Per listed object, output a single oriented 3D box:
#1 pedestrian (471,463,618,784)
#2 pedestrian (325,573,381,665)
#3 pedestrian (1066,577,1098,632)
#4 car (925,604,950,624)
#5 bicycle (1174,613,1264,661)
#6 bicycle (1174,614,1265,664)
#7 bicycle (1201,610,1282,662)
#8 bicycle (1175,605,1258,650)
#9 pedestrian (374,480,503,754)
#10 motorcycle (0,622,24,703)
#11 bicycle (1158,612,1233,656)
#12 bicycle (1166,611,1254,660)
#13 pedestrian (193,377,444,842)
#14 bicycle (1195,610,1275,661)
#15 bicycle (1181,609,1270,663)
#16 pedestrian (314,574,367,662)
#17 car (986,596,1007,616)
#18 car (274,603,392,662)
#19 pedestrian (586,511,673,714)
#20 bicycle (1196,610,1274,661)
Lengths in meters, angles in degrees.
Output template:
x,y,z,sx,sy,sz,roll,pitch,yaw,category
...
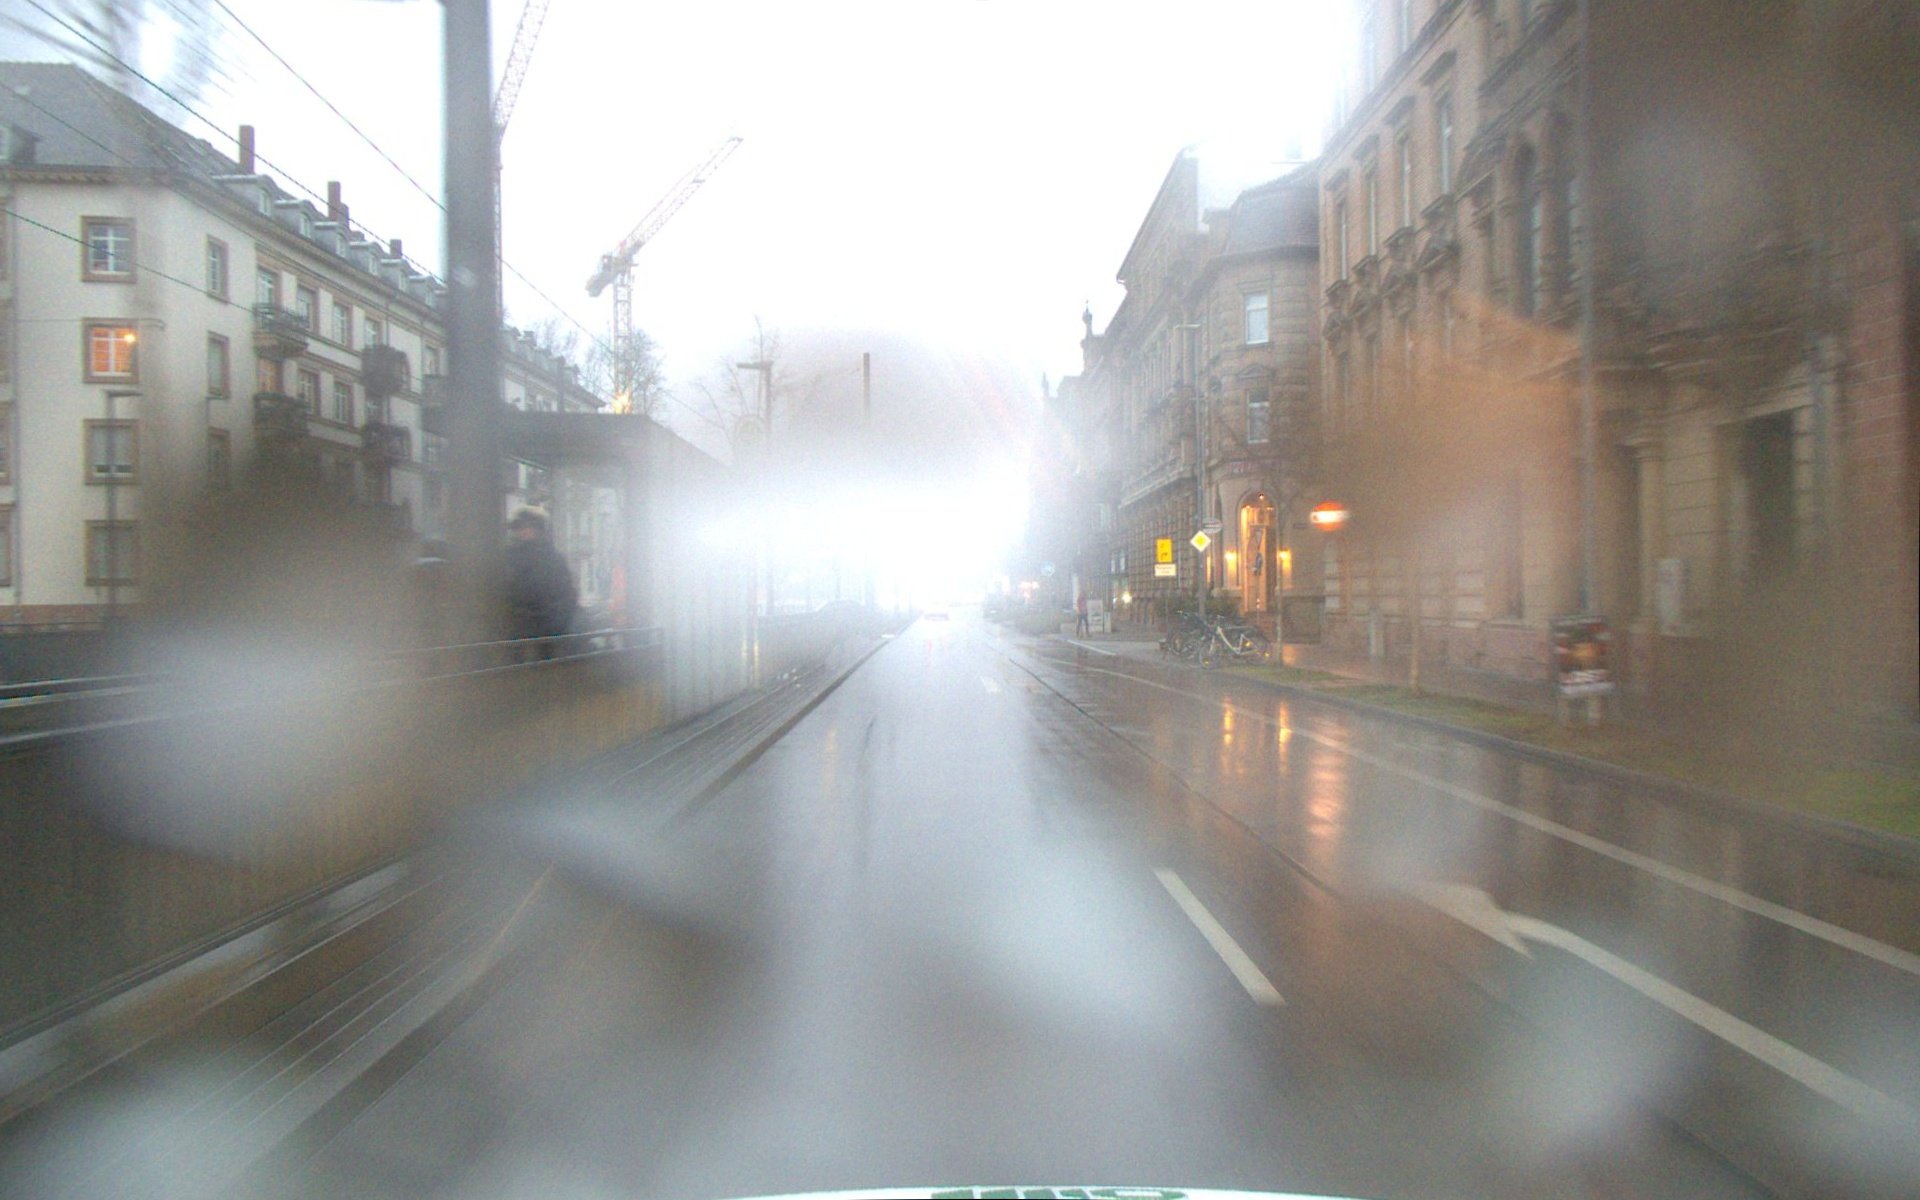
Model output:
x,y,z,sx,sy,sz,roll,pitch,yaw,category
-2.887,0.155,11.566,0.793,2.147,0.804,-1,0,0,pedestrian
-12.154,0.372,33.126,0.791,1.811,0.810,1,0,-42,pedestrian
4.607,0.178,62.508,0.844,2.049,0.909,-1,0,-30,pedestrian
-1.688,1.063,125.951,1.747,1.492,3.149,-1,0,1,car
6.362,0.917,40.677,2.101,1.073,0.484,-2,0,-2,bicycle
6.292,0.944,40.157,2.101,1.073,0.425,-4,1,-2,bicycle
6.287,0.806,36.937,1.695,1.073,0.371,-2,0,-2,bicycle
6.709,0.706,43.297,2.046,1.070,0.478,-3,0,-2,bicycle
-4.219,0.129,13.446,0.793,2.147,0.804,-1,0,-4,pedestrian
-12.515,0.799,20.864,0.502,1.026,1.805,0,0,-4,motorcycle
6.327,0.904,44.420,2.063,1.070,0.474,-3,0,-28,bicycle
6.337,0.891,41.918,2.101,1.073,0.425,-4,1,-2,bicycle
-2.879,0.038,7.501,0.793,1.981,0.804,-1,0,0,pedestrian
6.220,0.808,37.437,1.695,1.073,0.371,-2,0,-2,bicycle
6.238,0.840,38.850,1.968,1.114,0.425,-4,0,-2,bicycle
-12.959,0.364,34.611,0.791,1.811,0.810,1,0,-42,pedestrian
3.236,0.534,144.692,1.762,1.632,3.771,-2,0,2,car
-15.383,0.776,40.752,1.648,1.378,3.545,0,0,-2,car
-3.581,0.131,17.980,0.793,2.147,0.804,-1,0,-4,pedestrian
6.330,0.813,38.123,1.695,1.073,0.371,-2,0,-2,bicycle
